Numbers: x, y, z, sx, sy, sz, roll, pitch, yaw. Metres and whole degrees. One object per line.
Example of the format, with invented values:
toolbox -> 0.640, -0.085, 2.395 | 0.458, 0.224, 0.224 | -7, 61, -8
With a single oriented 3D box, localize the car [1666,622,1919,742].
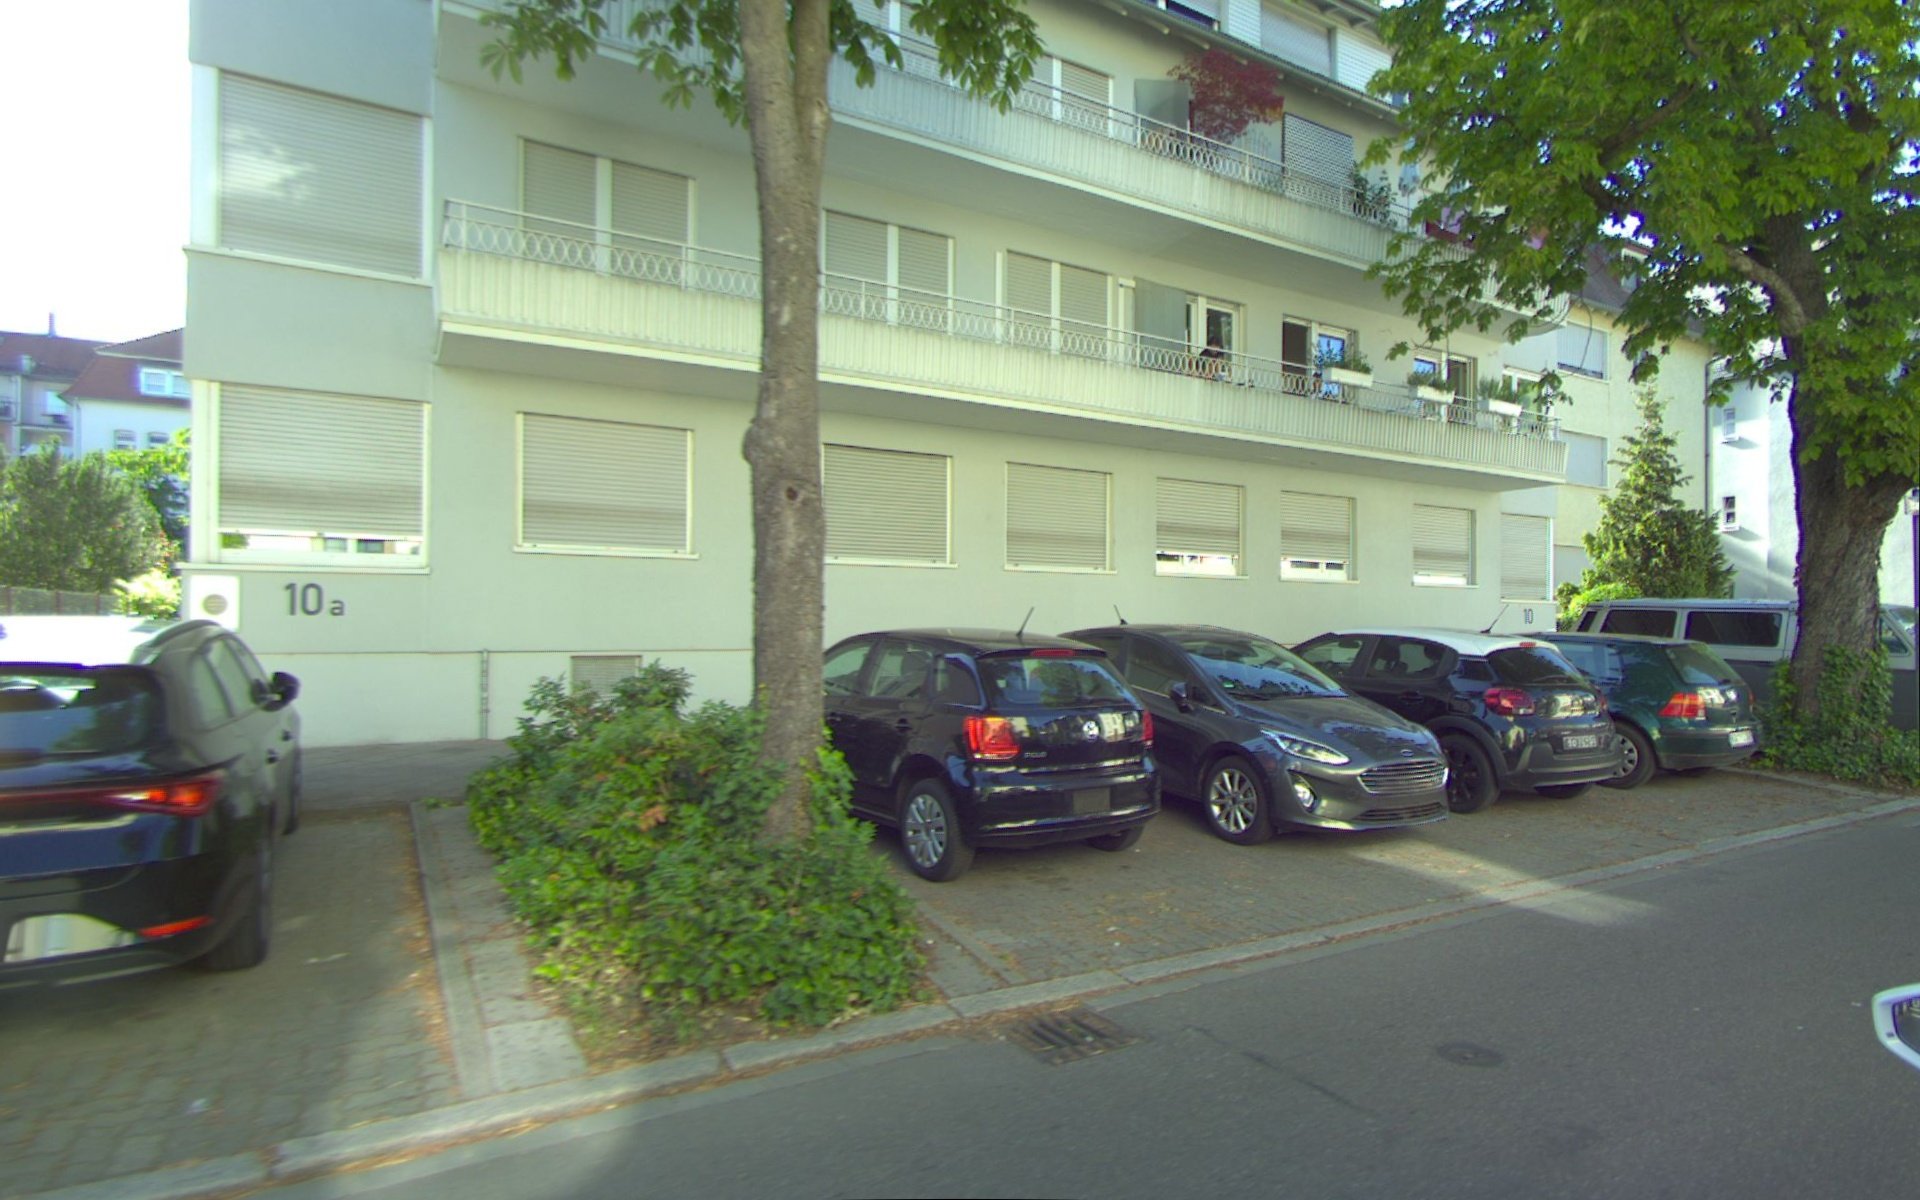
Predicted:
car -> 13.135, 1.153, 15.012 | 1.641, 1.518, 3.930 | 0, 1, -27

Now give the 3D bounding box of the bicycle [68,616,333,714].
bicycle -> -10.776, 0.902, 14.420 | 2.961, 1.316, 0.462 | 1, -1, -31

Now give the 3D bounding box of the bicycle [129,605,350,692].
bicycle -> -12.832, 0.859, 18.043 | 3.152, 1.485, 0.556 | 1, -1, -31

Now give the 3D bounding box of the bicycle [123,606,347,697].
bicycle -> -12.514, 0.886, 17.500 | 3.102, 1.485, 0.543 | 1, -1, -31

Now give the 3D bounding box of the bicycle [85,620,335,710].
bicycle -> -11.100, 0.944, 15.026 | 2.925, 1.254, 0.486 | 1, -1, -31

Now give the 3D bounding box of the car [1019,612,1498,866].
car -> 2.156, 0.904, 8.220 | 1.689, 1.482, 3.629 | 2, 0, -28

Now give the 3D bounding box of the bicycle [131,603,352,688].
bicycle -> -13.265, 0.835, 18.715 | 3.286, 1.485, 0.534 | 1, -1, -31

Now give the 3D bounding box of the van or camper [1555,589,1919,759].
van or camper -> 10.891, 0.891, 13.655 | 1.941, 1.940, 4.476 | 2, -1, -30

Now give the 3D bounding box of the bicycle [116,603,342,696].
bicycle -> -12.140, 0.817, 16.843 | 2.994, 1.476, 0.540 | 1, -1, -31

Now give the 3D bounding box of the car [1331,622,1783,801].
car -> 6.250, 1.029, 10.967 | 1.696, 1.434, 3.900 | 1, 1, -32

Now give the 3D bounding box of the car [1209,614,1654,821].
car -> 4.268, 0.947, 9.611 | 1.776, 1.477, 3.463 | 2, 0, -29

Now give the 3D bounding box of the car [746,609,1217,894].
car -> -0.065, 0.856, 7.299 | 1.693, 1.439, 3.455 | 3, 0, -35

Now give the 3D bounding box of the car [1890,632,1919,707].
car -> 21.138, 1.414, 19.523 | 1.840, 1.518, 4.166 | 1, -2, -31

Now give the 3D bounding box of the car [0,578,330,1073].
car -> -4.168, 0.694, 4.910 | 1.693, 1.460, 4.166 | 2, 1, -31
